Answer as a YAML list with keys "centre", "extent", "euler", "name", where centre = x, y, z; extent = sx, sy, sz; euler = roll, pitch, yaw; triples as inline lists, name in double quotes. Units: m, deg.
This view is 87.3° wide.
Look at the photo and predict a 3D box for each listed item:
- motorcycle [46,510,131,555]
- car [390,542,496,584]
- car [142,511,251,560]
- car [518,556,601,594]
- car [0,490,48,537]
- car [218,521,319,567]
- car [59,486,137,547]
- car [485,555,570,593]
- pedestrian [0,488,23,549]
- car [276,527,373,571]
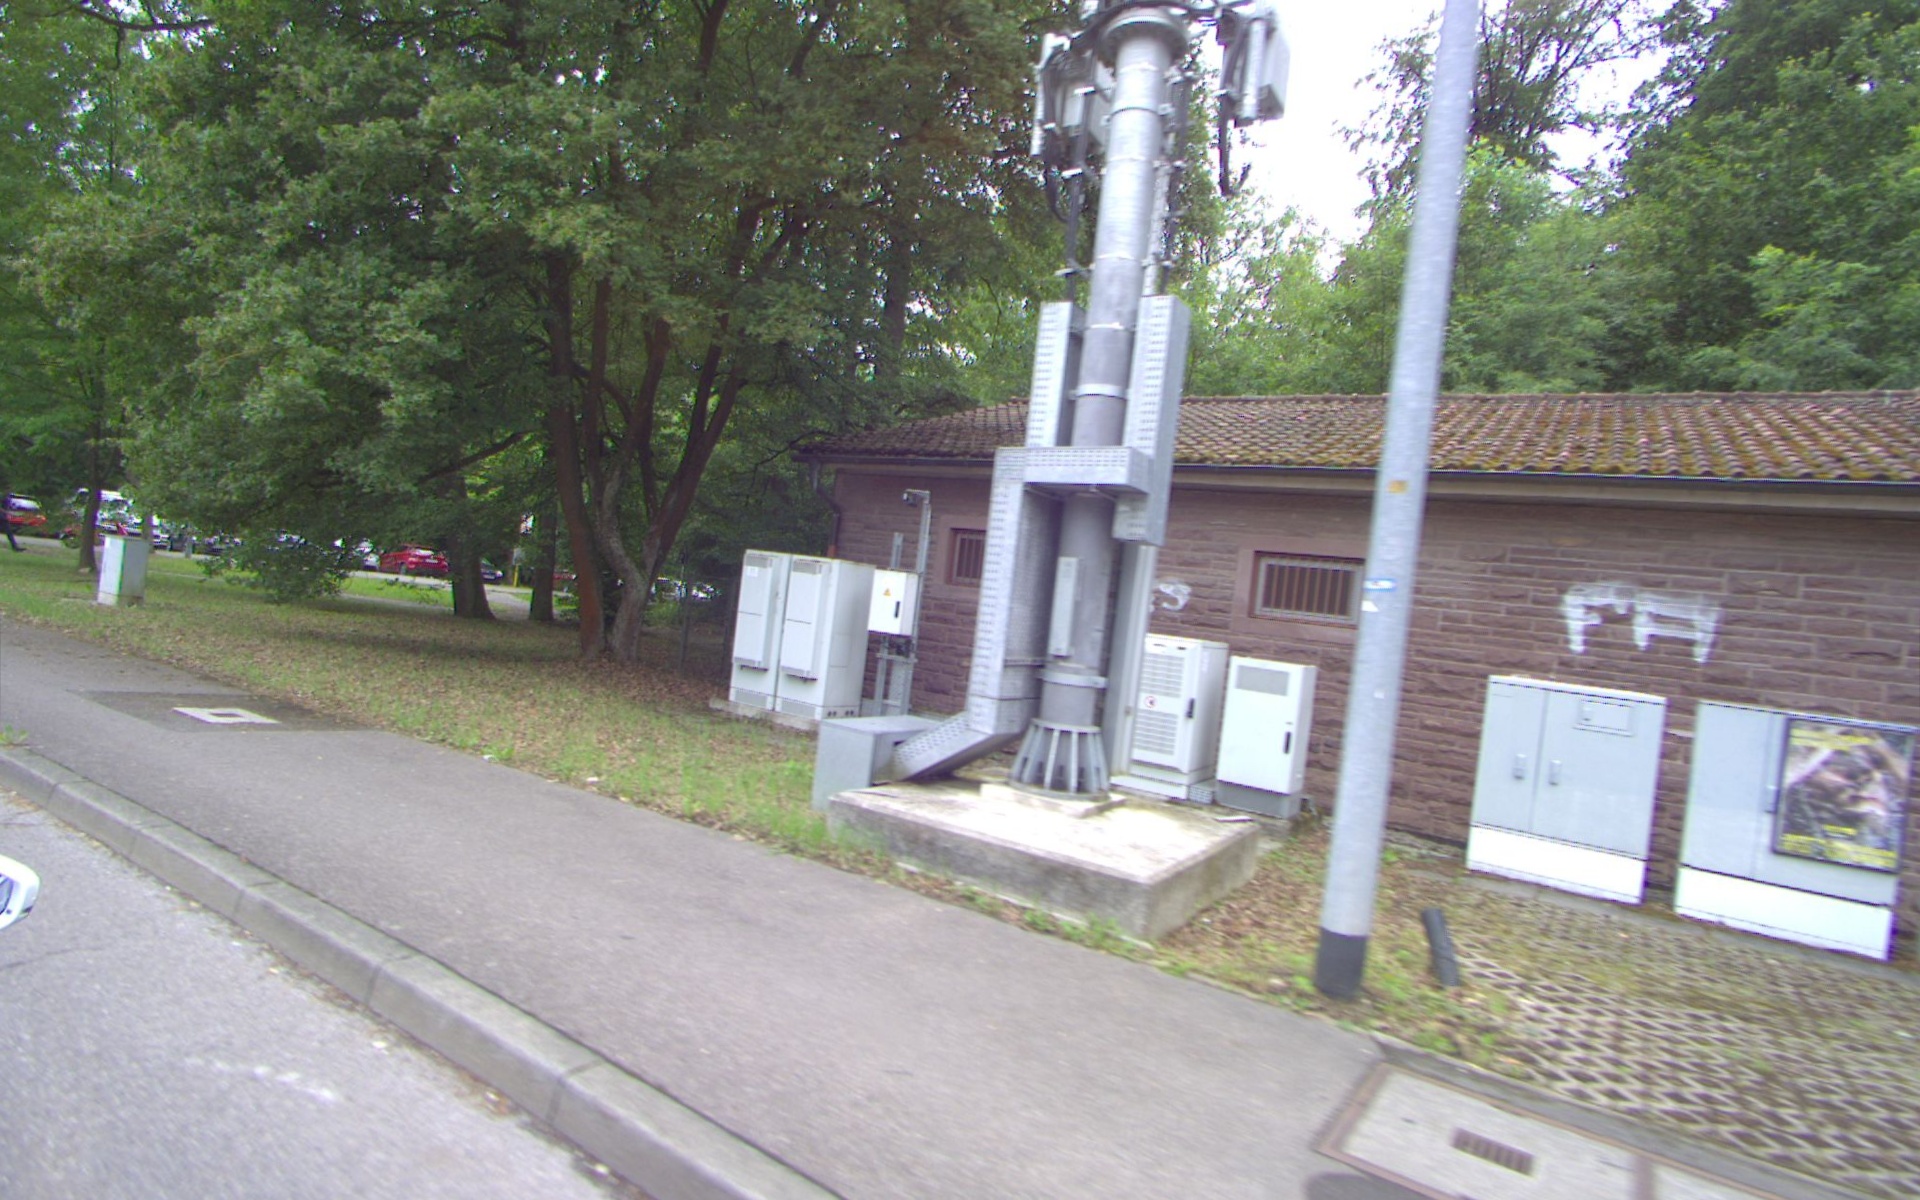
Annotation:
- centre: [-26.488, -2.041, 30.612]
  extent: [0.606, 1.070, 1.825]
  euler: [7, 0, 41]
  name: "motorcycle"
- centre: [-22.240, -1.572, 43.419]
  extent: [1.533, 1.342, 3.822]
  euler: [7, 0, 26]
  name: "car"
- centre: [-28.280, -2.386, 37.252]
  extent: [3.929, 1.342, 1.559]
  euler: [7, 0, 27]
  name: "car"
- centre: [-19.657, -1.231, 49.353]
  extent: [3.758, 1.342, 1.559]
  euler: [7, 0, 27]
  name: "car"
- centre: [-31.399, -2.930, 33.195]
  extent: [1.828, 1.342, 3.951]
  euler: [7, 0, -43]
  name: "car"
- centre: [-26.839, -2.177, 39.032]
  extent: [3.758, 1.342, 1.559]
  euler: [7, 0, 27]
  name: "car"
- centre: [-30.132, -2.919, 35.130]
  extent: [1.828, 1.784, 3.951]
  euler: [6, 0, -43]
  name: "car"
- centre: [-20.629, -1.231, 47.967]
  extent: [3.758, 1.342, 1.559]
  euler: [7, 0, 27]
  name: "car"
- centre: [-25.028, -2.155, 26.190]
  extent: [0.838, 1.525, 0.780]
  euler: [6, 1, -44]
  name: "pedestrian"
- centre: [-26.049, -2.078, 41.193]
  extent: [3.758, 1.342, 1.559]
  euler: [7, 0, 27]
  name: "car"
